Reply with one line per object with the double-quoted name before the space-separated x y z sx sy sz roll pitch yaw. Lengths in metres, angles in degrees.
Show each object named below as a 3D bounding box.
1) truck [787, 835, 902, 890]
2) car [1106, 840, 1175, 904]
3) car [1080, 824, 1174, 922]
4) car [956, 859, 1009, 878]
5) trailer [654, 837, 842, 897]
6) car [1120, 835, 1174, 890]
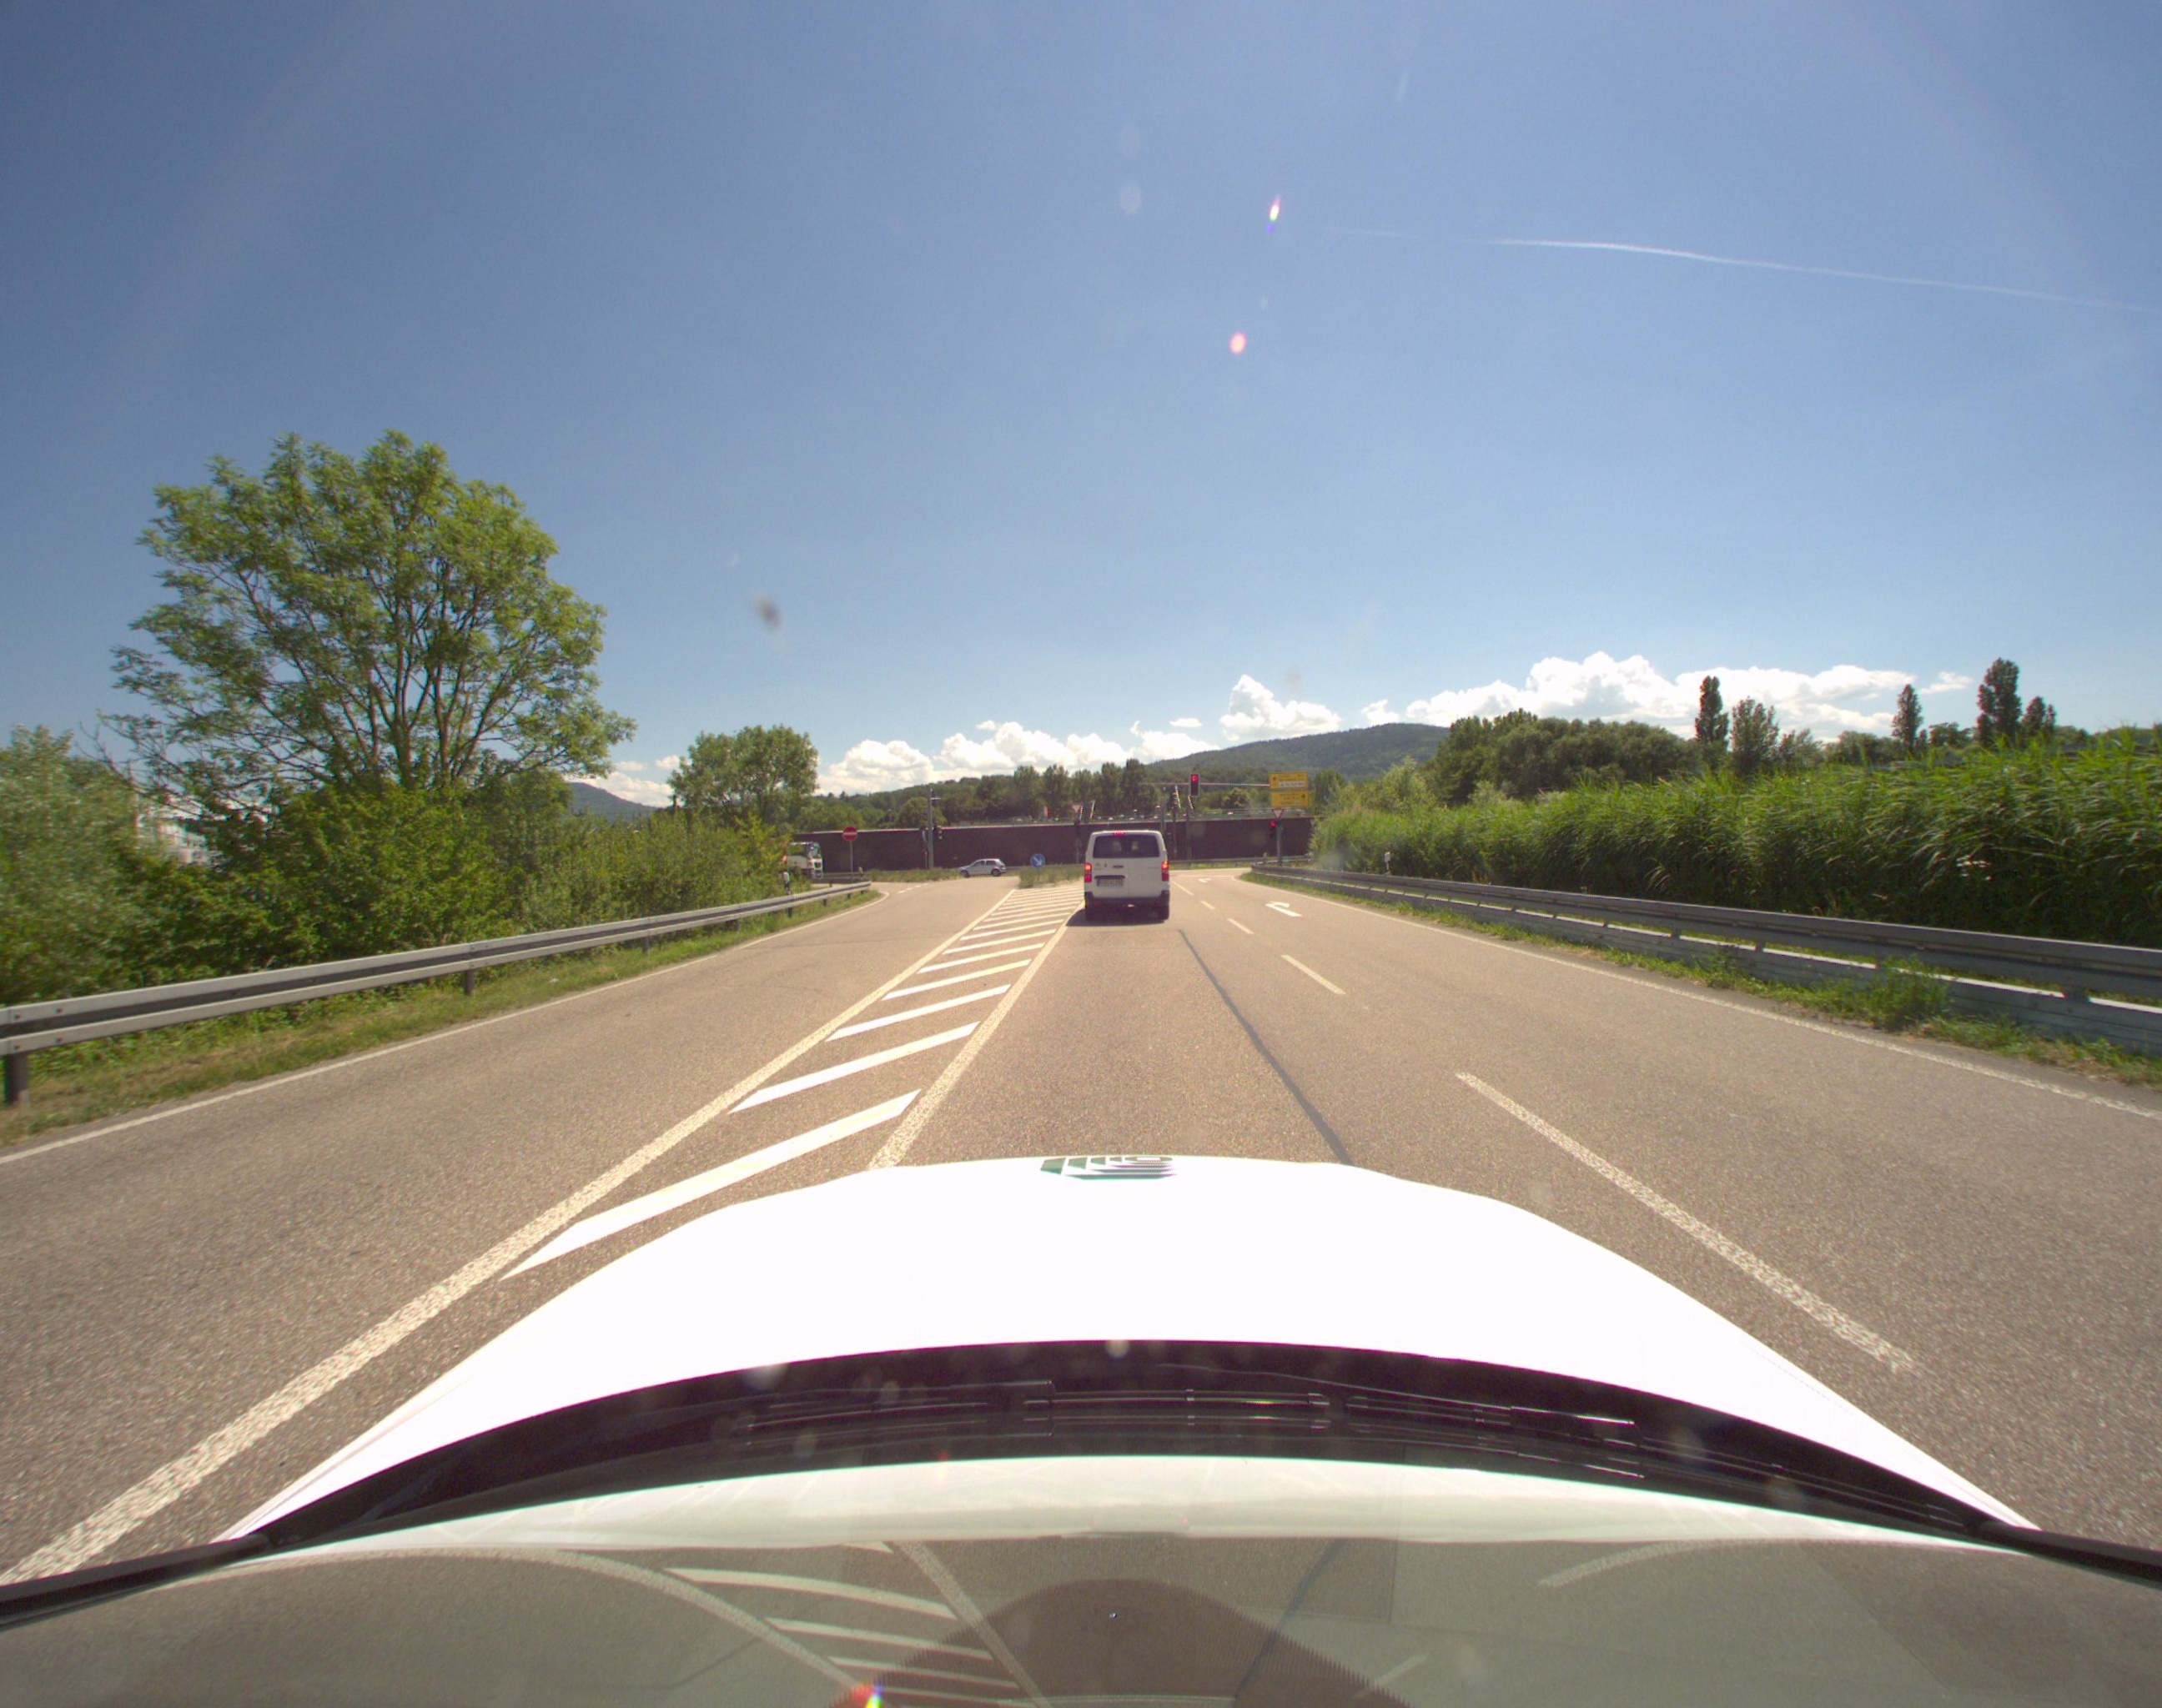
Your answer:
"truck" -16.926 0.575 58.593 7.380 3.504 2.233 -3 1 0
"car" 1.898 0.538 26.581 1.985 1.812 4.003 -3 0 3
"car" 1.040 0.390 18.625 1.862 1.964 4.003 -1 0 3
"car" -7.917 1.167 65.893 3.971 1.349 1.850 -1 2 2
"trailer" -23.804 0.905 58.560 12.284 3.504 2.232 -3 1 -1
"car" 2.656 0.338 33.573 1.985 2.013 4.003 -3 0 3
